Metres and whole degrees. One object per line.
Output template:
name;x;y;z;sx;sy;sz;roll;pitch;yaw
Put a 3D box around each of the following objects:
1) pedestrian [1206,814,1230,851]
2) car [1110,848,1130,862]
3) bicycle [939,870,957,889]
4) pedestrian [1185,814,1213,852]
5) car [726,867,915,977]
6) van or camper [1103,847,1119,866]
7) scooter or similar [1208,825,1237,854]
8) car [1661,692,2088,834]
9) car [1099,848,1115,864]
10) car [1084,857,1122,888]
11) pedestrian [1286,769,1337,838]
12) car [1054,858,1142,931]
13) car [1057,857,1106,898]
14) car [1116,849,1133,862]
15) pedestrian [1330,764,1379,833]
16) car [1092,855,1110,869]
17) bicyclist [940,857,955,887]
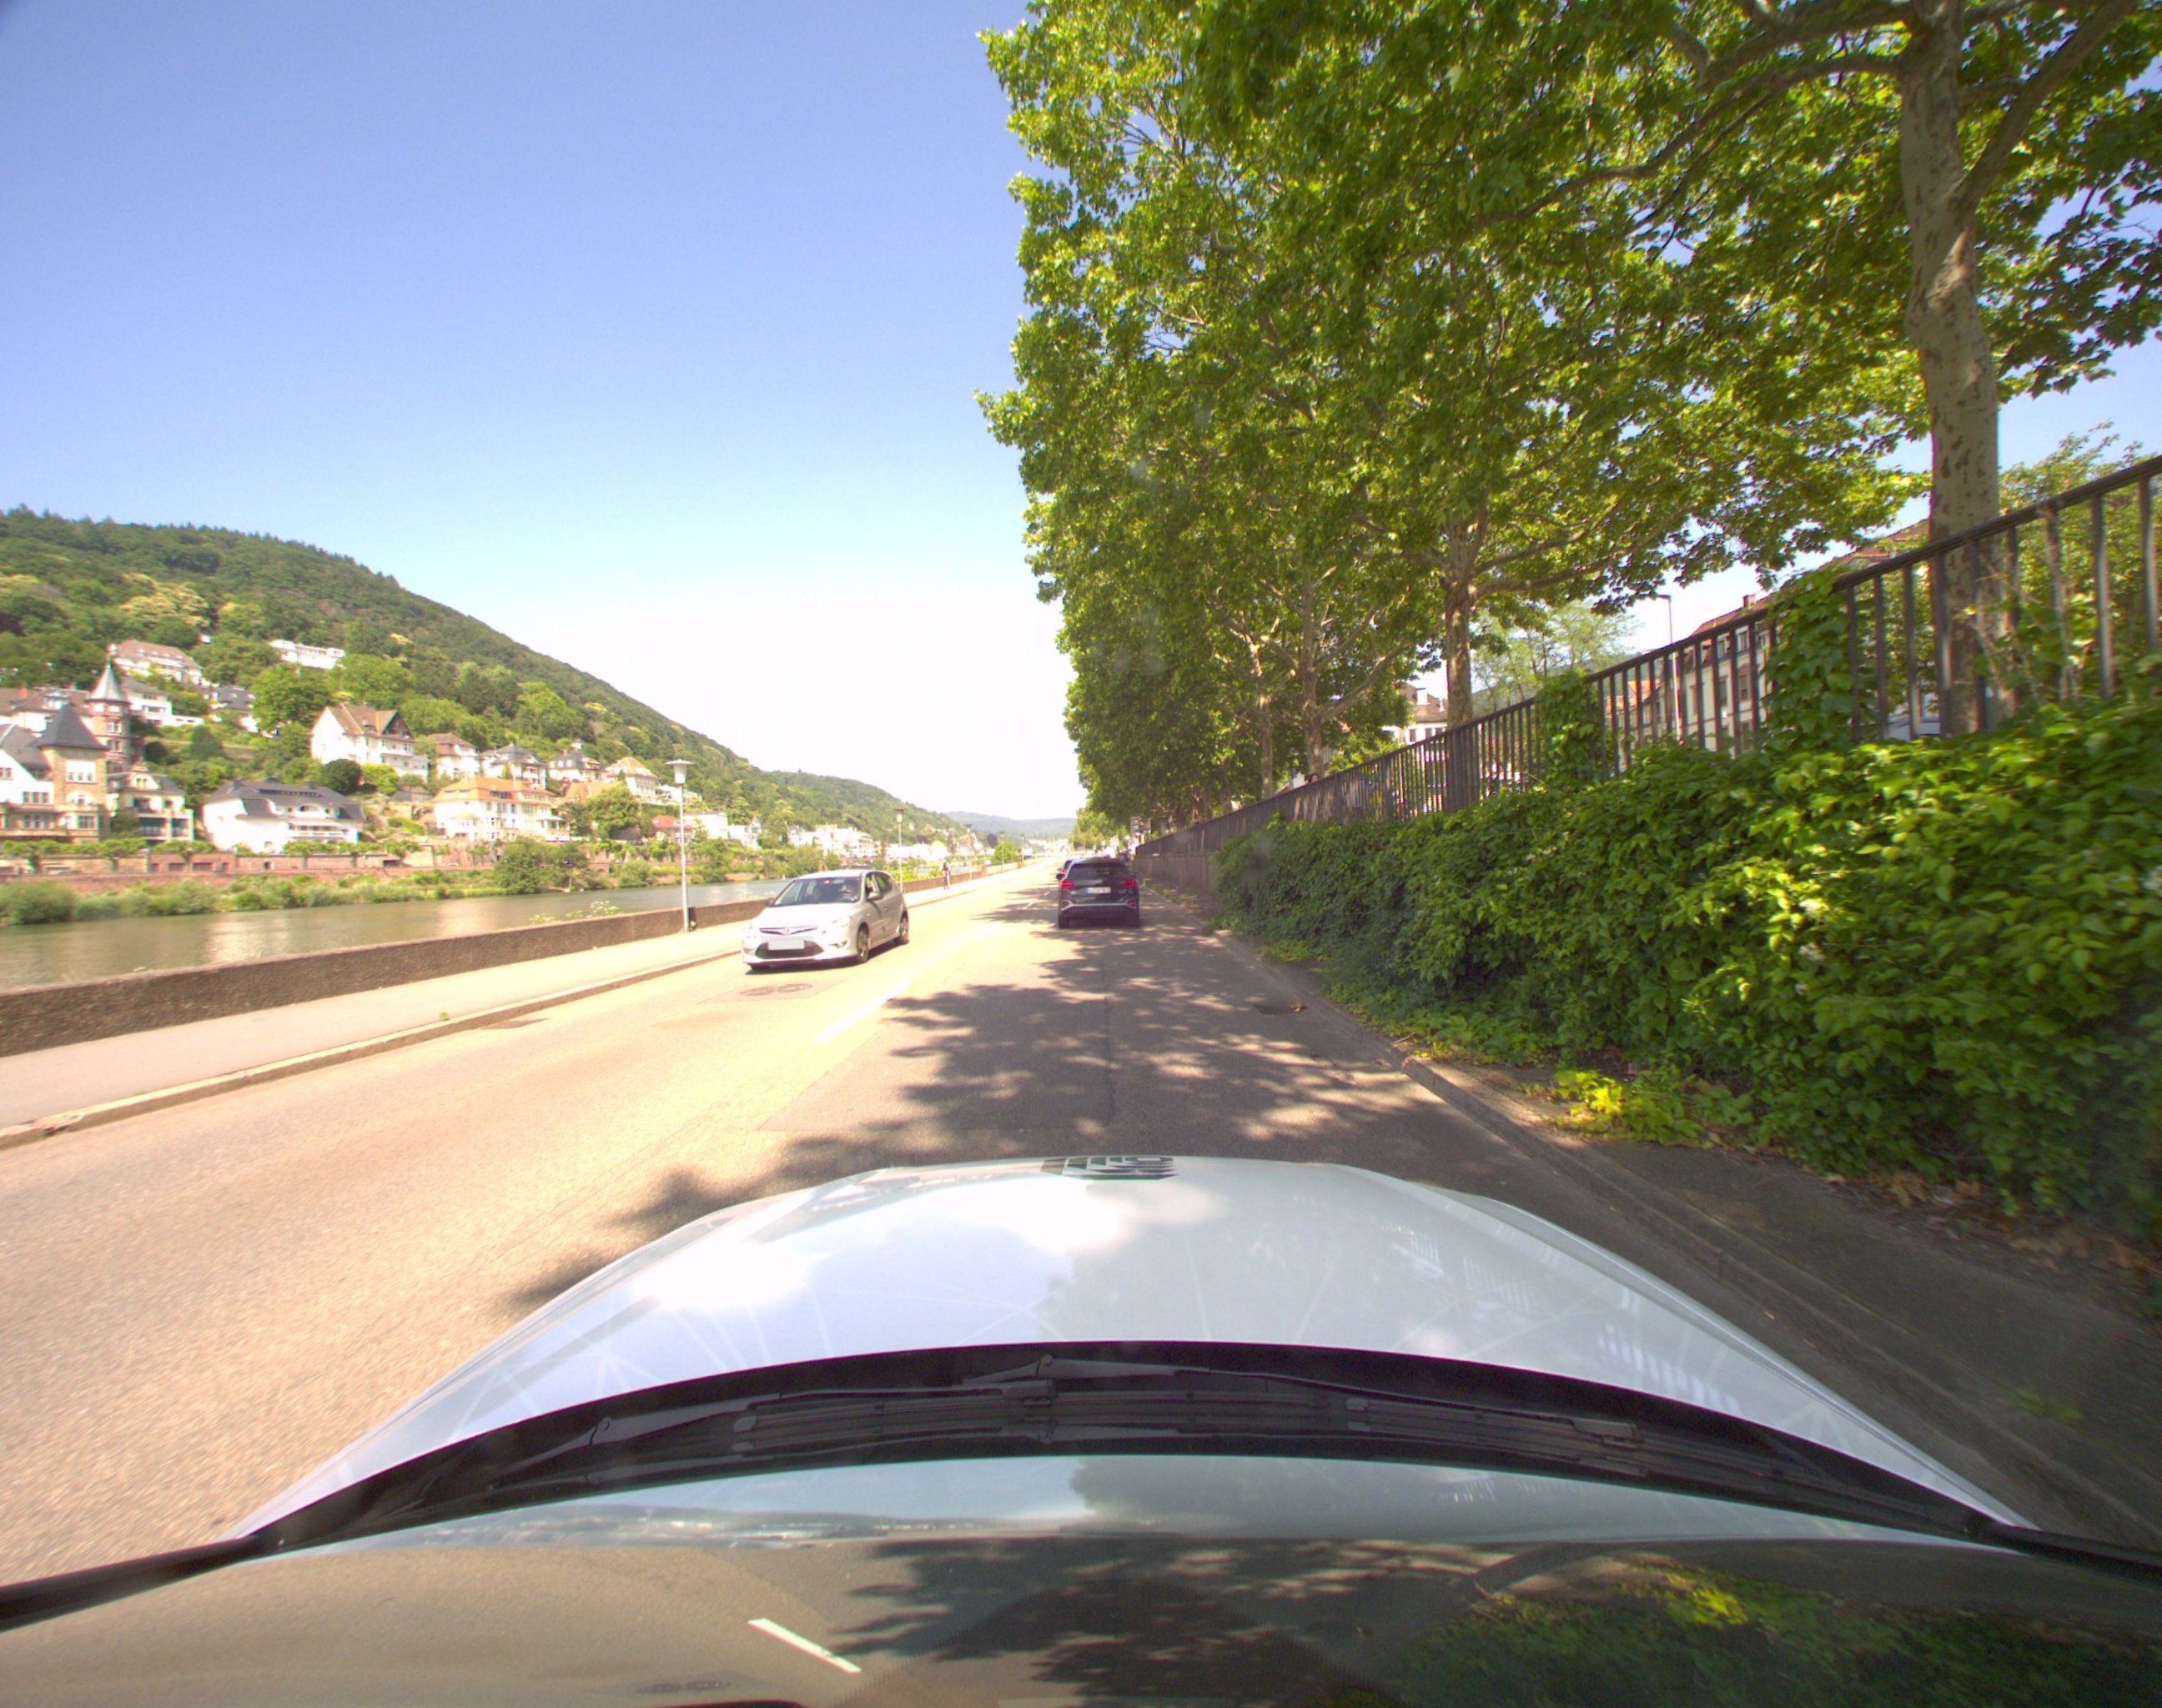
pedestrian;5.397;-0.842;32.141;0.678;1.365;0.989;-5;0;0
car;6.414;0.116;134.772;3.088;2.013;5.824;-5;0;0
bicycle;-7.579;1.432;46.398;0.630;1.012;1.986;-2;0;0
pedestrian;5.194;-0.902;35.839;0.934;1.579;1.027;-5;0;-1
car;-4.182;1.013;13.795;1.725;1.442;4.046;-3;0;1
van or camper;4.582;0.397;123.336;2.301;2.847;4.248;-2;0;2
scooter or similar;5.448;-0.553;31.357;0.852;1.026;1.107;-5;0;0
car;9.306;-1.037;9.700;3.723;1.235;1.670;-5;0;-8
car;3.641;0.288;114.499;1.987;2.169;4.000;-2;0;0
car;1.092;0.906;41.730;1.822;1.486;4.000;-1;0;0
pedestrian;4.897;-1.065;17.339;0.751;1.365;0.814;-5;0;-1
car;0.375;0.854;18.991;1.822;1.486;4.000;-1;0;0
car;0.028;0.900;33.064;1.822;1.511;4.000;-1;0;0
car;7.776;0.233;144.931;2.653;2.013;5.824;-5;0;0
pedestrian;5.816;-1.164;17.352;0.642;1.365;0.794;-5;0;-1
car;2.147;0.849;88.020;1.822;1.444;4.000;-1;0;0
bicyclist;-7.614;1.024;46.484;0.635;1.673;0.871;-2;-1;0
